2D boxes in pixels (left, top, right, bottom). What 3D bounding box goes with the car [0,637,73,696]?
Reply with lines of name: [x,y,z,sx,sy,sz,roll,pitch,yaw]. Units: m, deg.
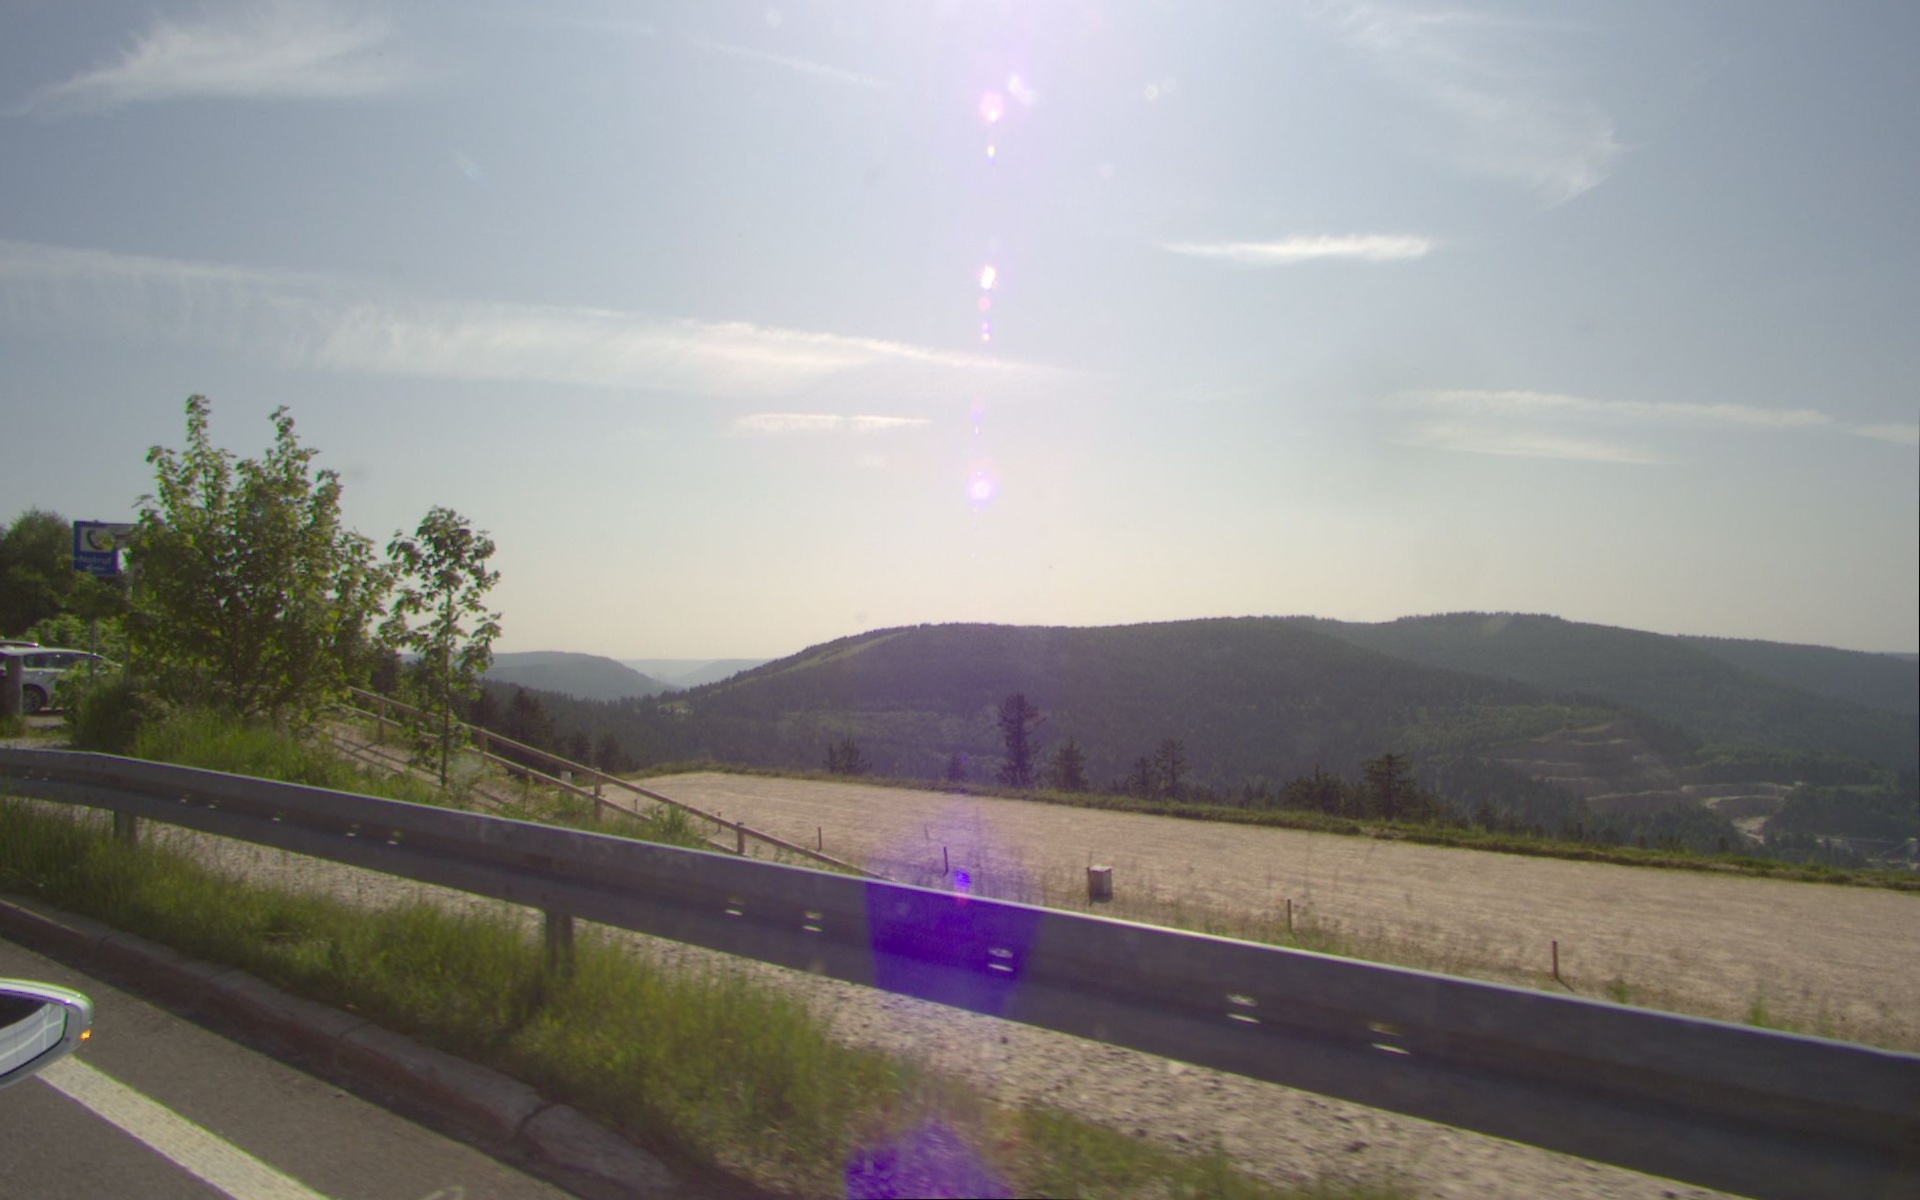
car: [-25.751,1.678,25.730,1.810,1.528,3.997,0,-4,20]

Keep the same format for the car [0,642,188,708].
car: [-20.547,1.737,23.149,1.628,1.402,3.997,0,-5,20]

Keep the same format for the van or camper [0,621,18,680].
van or camper: [-35.244,1.584,33.495,1.856,2.037,5.085,-1,-6,33]

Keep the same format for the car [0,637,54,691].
car: [-28.320,1.770,28.354,1.623,1.513,3.580,0,-5,30]

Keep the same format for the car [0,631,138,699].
car: [-23.142,1.588,24.421,1.874,1.587,4.409,0,-4,19]
